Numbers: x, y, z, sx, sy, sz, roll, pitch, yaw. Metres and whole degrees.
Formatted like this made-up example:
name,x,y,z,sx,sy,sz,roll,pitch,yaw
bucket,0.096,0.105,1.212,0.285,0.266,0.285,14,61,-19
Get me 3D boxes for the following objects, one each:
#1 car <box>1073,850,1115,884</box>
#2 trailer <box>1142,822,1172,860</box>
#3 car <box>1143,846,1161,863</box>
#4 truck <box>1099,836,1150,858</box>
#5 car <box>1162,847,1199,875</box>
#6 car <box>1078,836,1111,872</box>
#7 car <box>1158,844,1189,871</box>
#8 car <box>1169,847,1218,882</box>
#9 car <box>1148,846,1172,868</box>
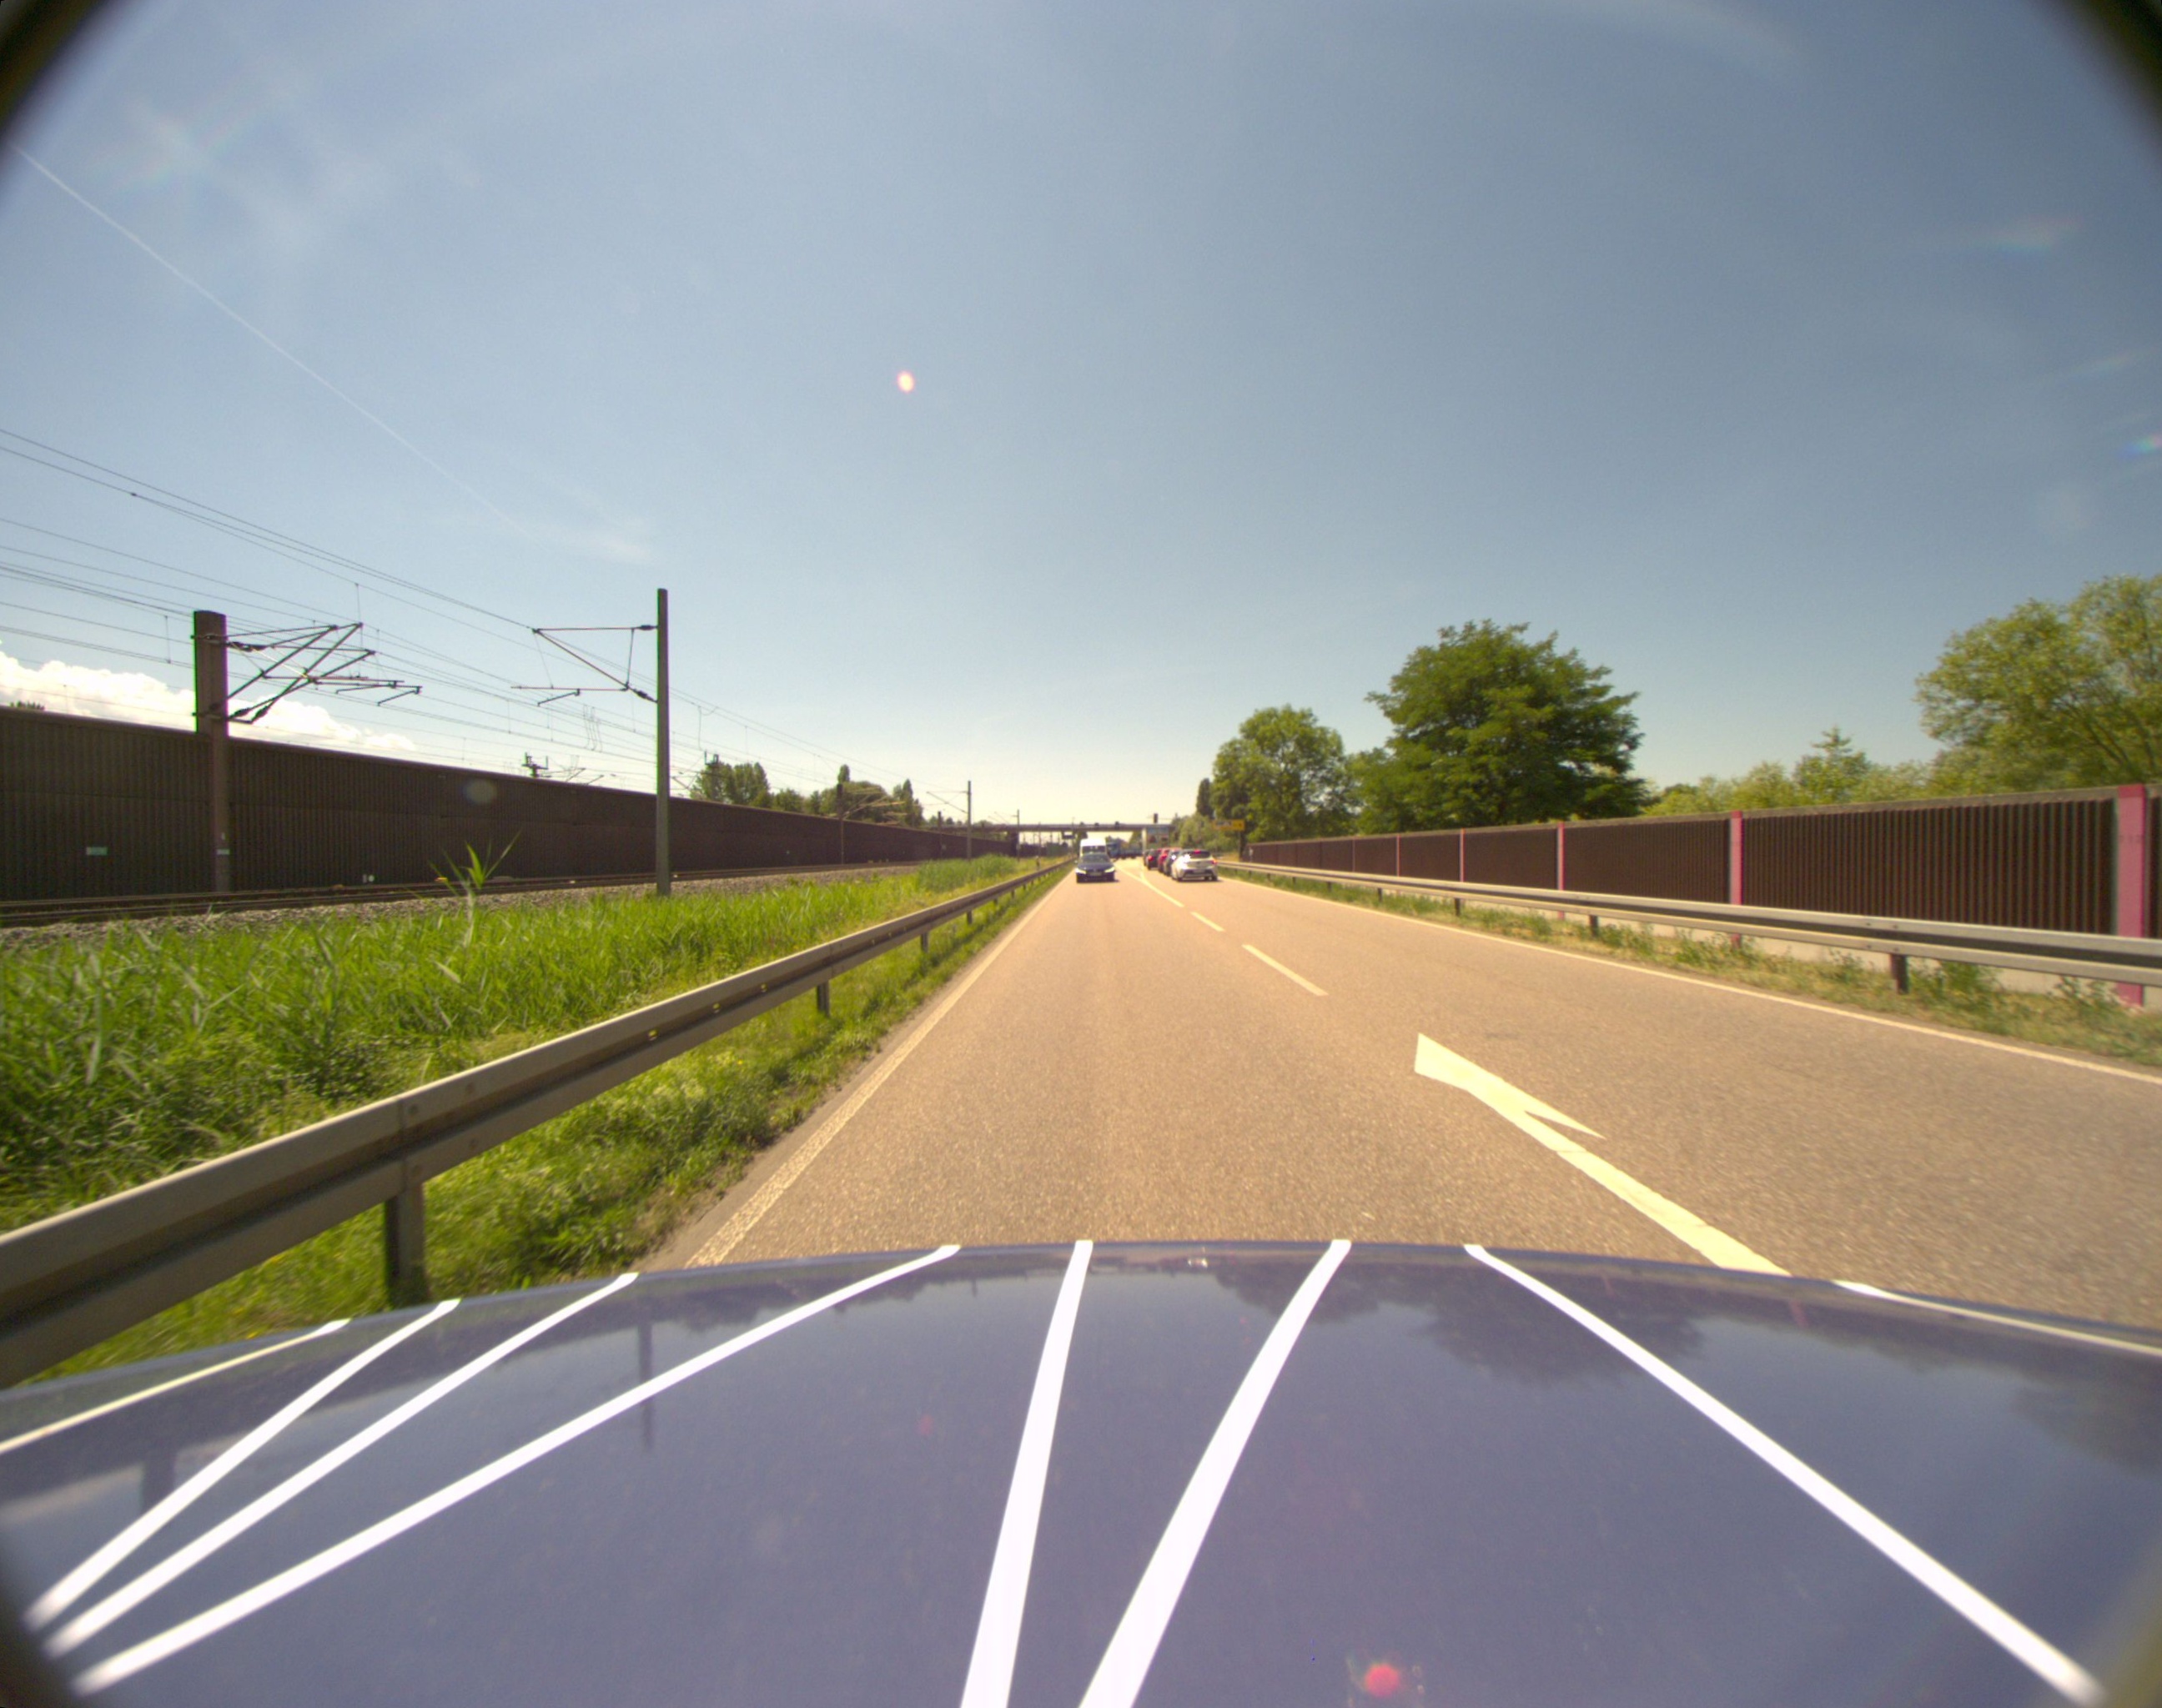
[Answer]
name,x,y,z,sx,sy,sz,roll,pitch,yaw
car,0.669,0.576,36.195,1.847,1.415,4.562,-2,1,2
trailer,8.966,-1.528,91.041,2.696,4.022,14.125,-2,1,2
car,6.733,0.032,71.619,1.627,1.529,4.385,0,0,5
truck,6.561,-1.064,112.484,2.688,3.177,9.195,0,1,38
car,5.528,0.344,42.594,1.689,1.451,4.616,-2,1,4
car,1.068,0.008,56.618,2.227,2.480,5.983,-2,0,3
car,6.022,0.215,49.763,1.759,1.622,4.280,-2,0,4
car,5.099,0.422,34.918,1.689,1.451,4.616,-2,1,2
car,5.969,0.187,57.866,1.720,1.580,4.536,-2,0,5
